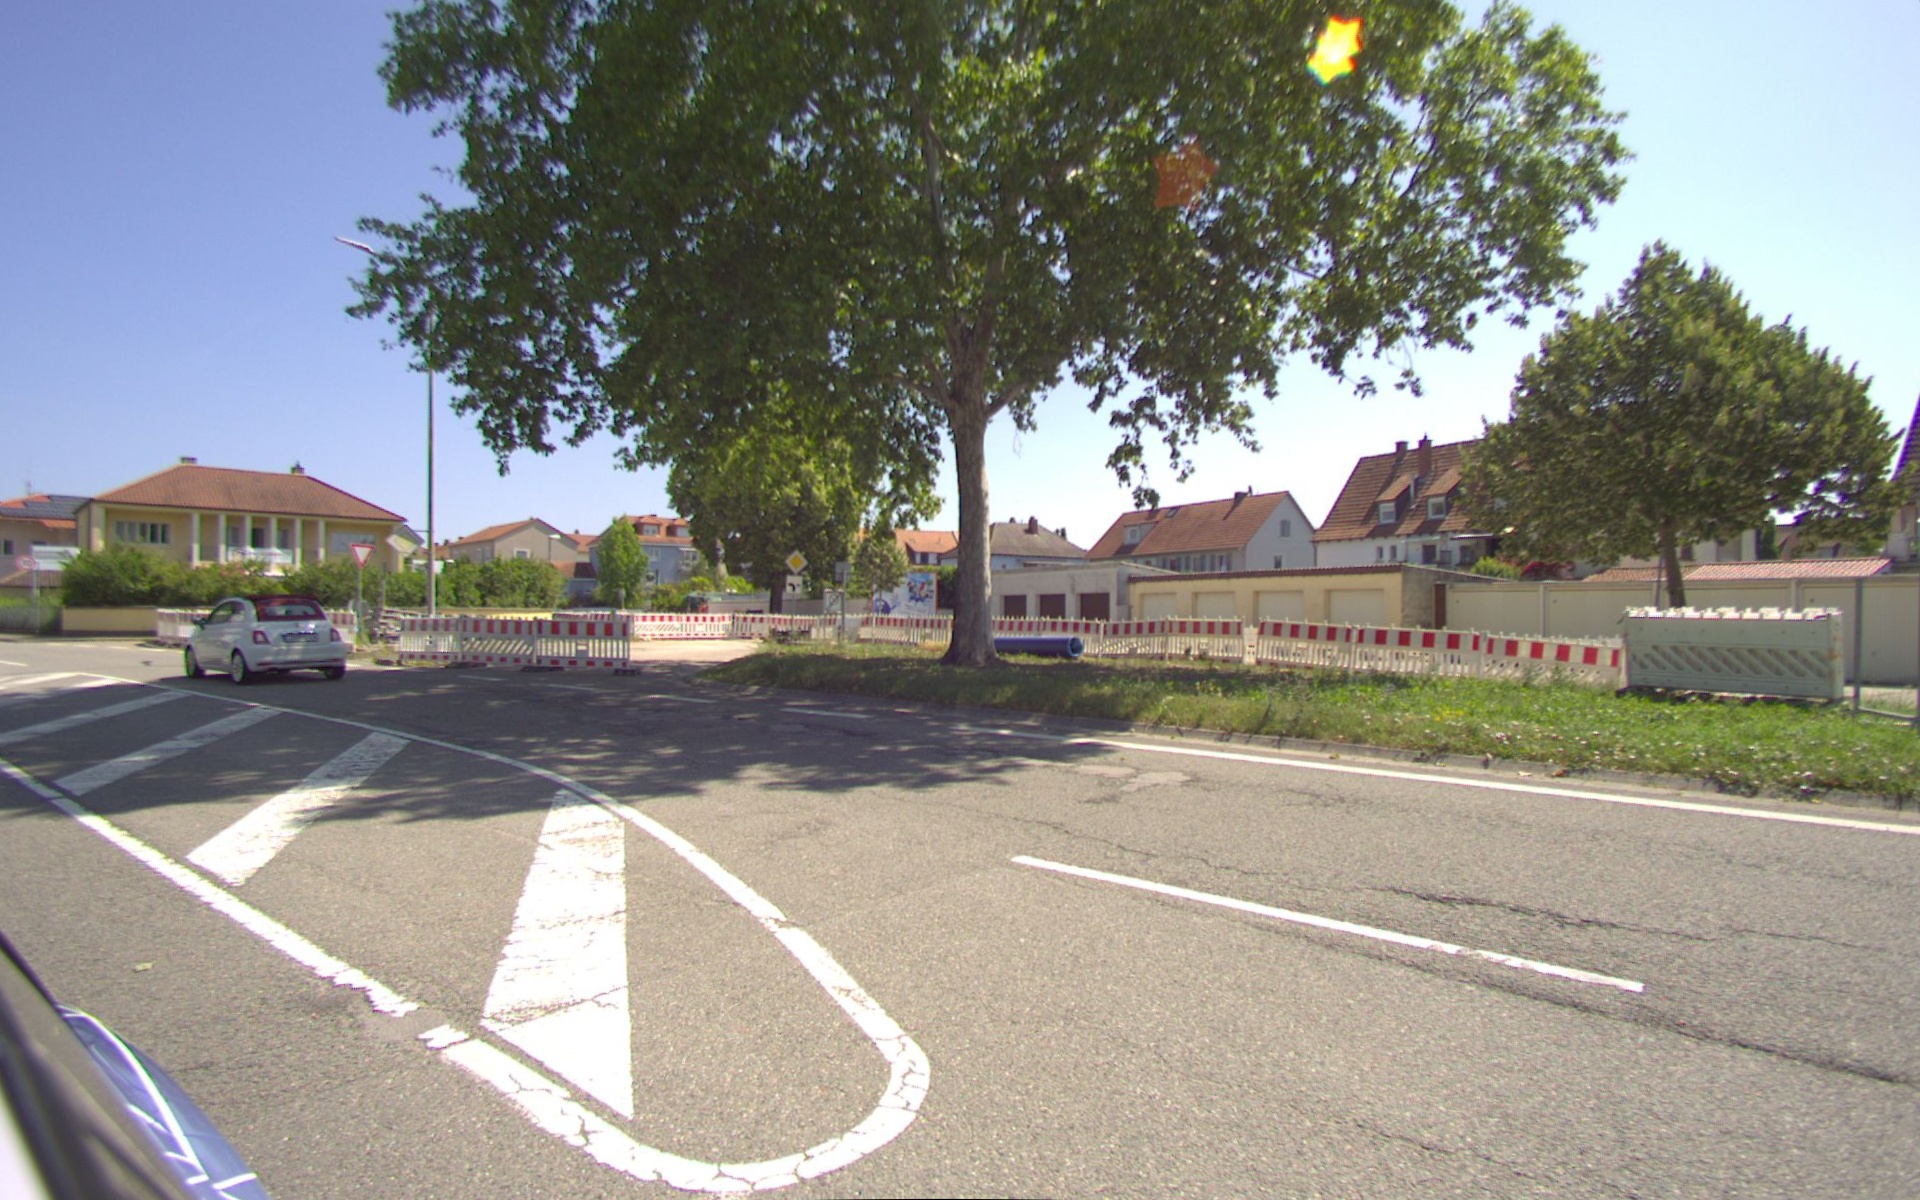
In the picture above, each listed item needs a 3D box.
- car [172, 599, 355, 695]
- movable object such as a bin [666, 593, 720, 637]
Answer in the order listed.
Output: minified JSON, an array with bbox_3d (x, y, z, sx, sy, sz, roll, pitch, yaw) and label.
[{"bbox_3d":[-12.484,0.772,18.083,3.453,1.521,1.683,-1,0,37],"label":"car"},{"bbox_3d":[-17.278,0.982,65.361,2.240,2.756,3.941,1,-2,-33],"label":"movable object such as a bin"}]
